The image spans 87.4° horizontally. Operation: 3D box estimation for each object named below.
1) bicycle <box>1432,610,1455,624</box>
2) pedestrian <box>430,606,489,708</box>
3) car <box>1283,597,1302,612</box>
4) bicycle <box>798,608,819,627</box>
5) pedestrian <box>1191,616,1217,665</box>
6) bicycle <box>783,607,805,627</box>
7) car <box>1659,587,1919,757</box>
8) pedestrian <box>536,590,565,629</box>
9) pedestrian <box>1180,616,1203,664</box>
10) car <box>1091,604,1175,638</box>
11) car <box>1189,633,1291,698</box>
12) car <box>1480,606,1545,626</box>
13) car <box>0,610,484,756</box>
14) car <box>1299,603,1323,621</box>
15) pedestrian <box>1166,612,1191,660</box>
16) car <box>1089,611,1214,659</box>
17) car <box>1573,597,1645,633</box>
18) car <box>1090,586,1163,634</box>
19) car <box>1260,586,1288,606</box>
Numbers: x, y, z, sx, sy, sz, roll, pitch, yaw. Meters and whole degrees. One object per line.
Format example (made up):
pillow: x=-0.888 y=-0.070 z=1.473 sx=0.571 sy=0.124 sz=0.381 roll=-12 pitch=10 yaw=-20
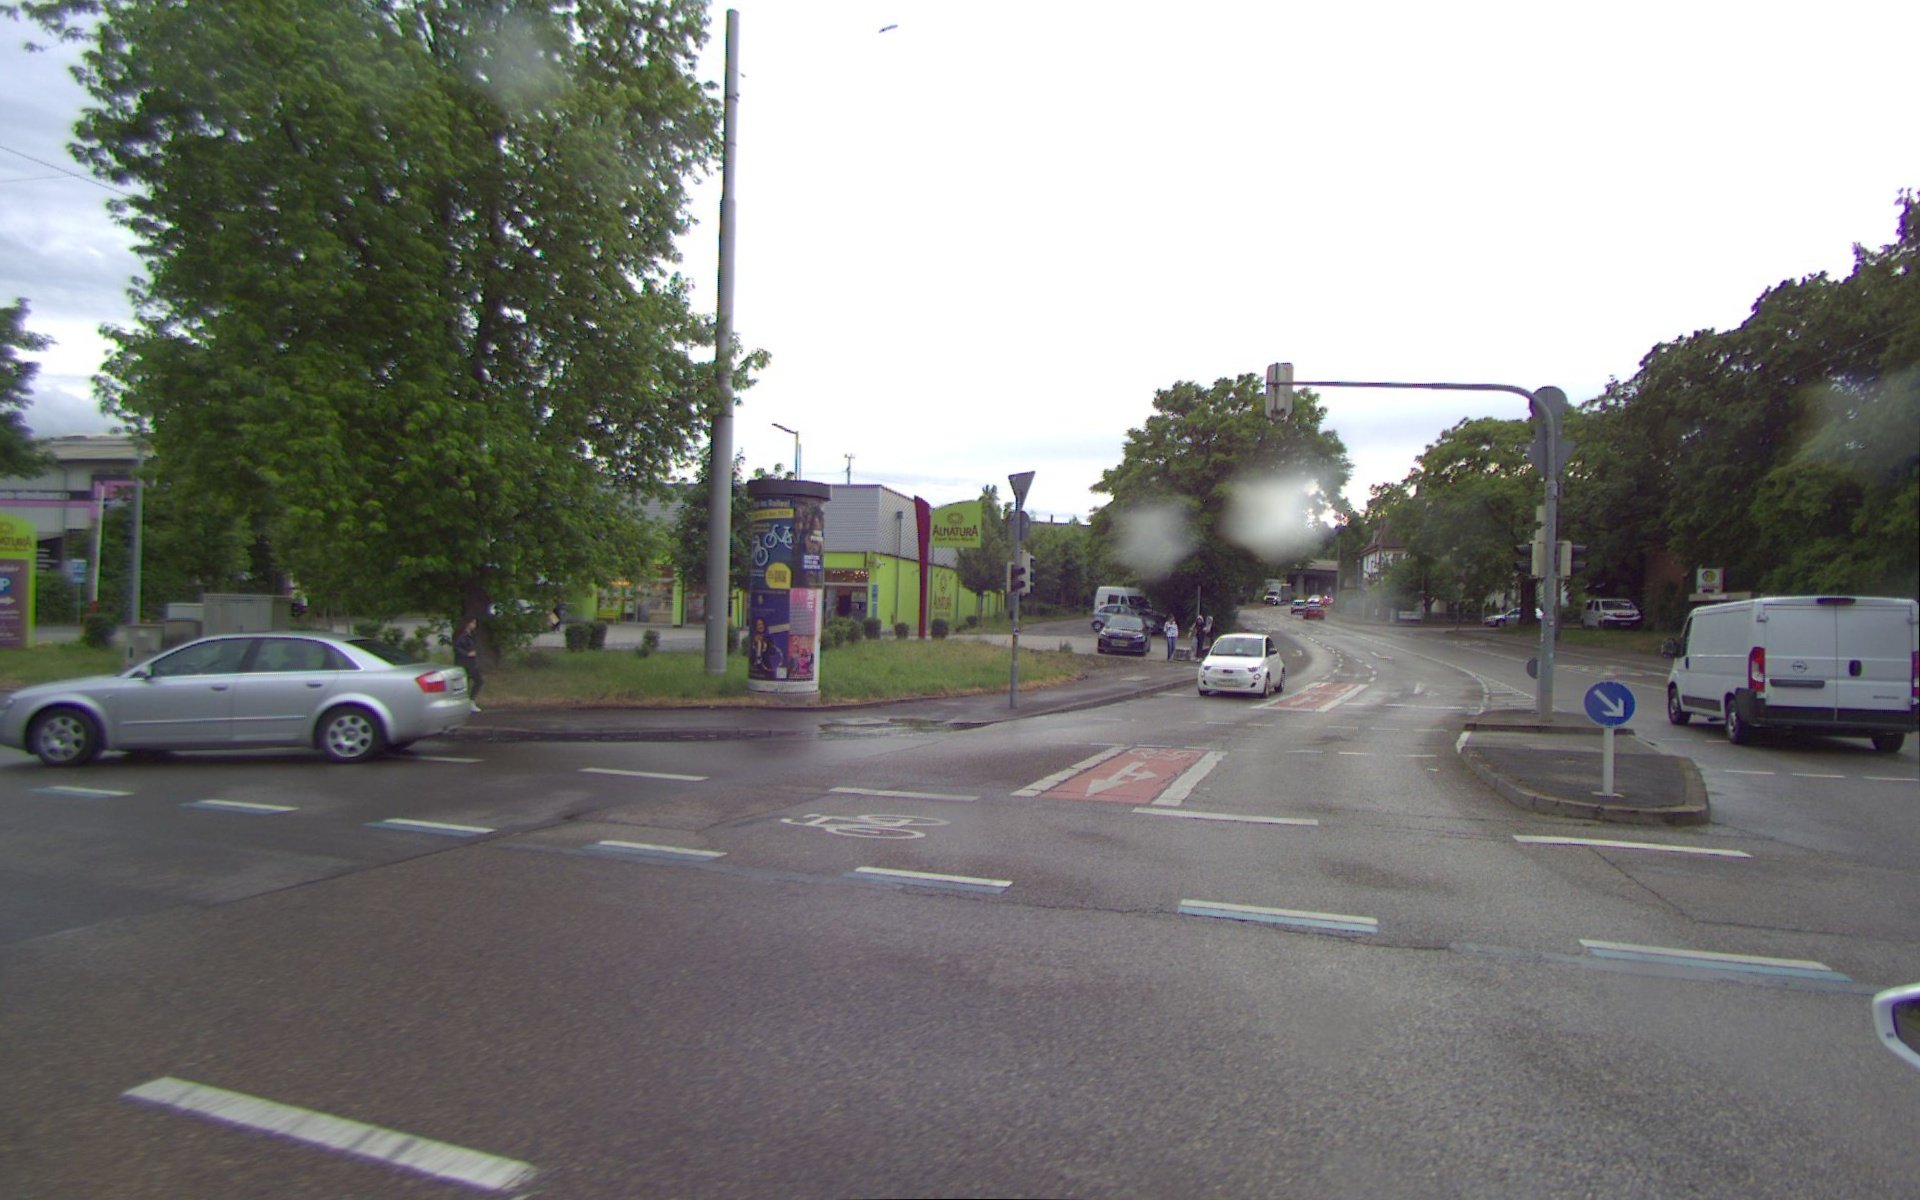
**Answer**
bicycle: x=38.358 y=1.330 z=79.666 sx=1.544 sy=1.130 sz=0.457 roll=0 pitch=1 yaw=18
pedestrian: x=-7.966 y=0.902 z=16.006 sx=0.656 sy=1.552 sz=0.592 roll=2 pitch=2 yaw=-8
car: x=38.877 y=0.505 z=117.458 sx=1.735 sy=1.531 sz=3.756 roll=2 pitch=1 yaw=14
bicycle: x=-7.856 y=0.899 z=52.190 sx=0.523 sy=0.995 sz=1.616 roll=1 pitch=0 yaw=14
pedestrian: x=8.505 y=1.398 z=34.965 sx=0.646 sy=1.623 sz=0.677 roll=4 pitch=2 yaw=28
bicycle: x=-8.646 y=0.886 z=52.434 sx=0.523 sy=0.995 sz=1.616 roll=1 pitch=0 yaw=14
car: x=13.276 y=1.047 z=16.411 sx=2.112 sy=2.313 sz=5.060 roll=0 pitch=-1 yaw=24
pedestrian: x=-17.263 y=0.395 z=42.337 sx=0.744 sy=1.618 sz=0.804 roll=3 pitch=2 yaw=22
pedestrian: x=8.232 y=1.415 z=35.704 sx=0.596 sy=1.623 sz=0.677 roll=4 pitch=2 yaw=28
car: x=9.513 y=1.133 z=55.307 sx=4.064 sy=1.563 sz=1.990 roll=4 pitch=2 yaw=40
car: x=7.253 y=1.605 z=25.746 sx=1.662 sy=1.502 sz=3.994 roll=0 pitch=-1 yaw=28
car: x=41.218 y=1.221 z=74.978 sx=3.919 sy=1.441 sz=1.705 roll=0 pitch=-1 yaw=11
car: x=-7.929 y=0.936 z=11.330 sx=4.355 sy=1.455 sz=1.587 roll=2 pitch=-3 yaw=-16
car: x=34.161 y=1.167 z=97.903 sx=1.806 sy=1.554 sz=4.204 roll=2 pitch=2 yaw=15
pedestrian: x=7.769 y=1.262 z=35.720 sx=0.646 sy=1.623 sz=0.677 roll=4 pitch=2 yaw=28
car: x=7.060 y=1.282 z=37.170 sx=4.162 sy=1.468 sz=1.748 roll=3 pitch=1 yaw=-13
car: x=36.867 y=0.788 z=57.172 sx=1.960 sy=1.829 sz=5.148 roll=3 pitch=1 yaw=16
car: x=9.877 y=0.537 z=60.116 sx=2.078 sy=2.567 sz=5.587 roll=2 pitch=2 yaw=-15
car: x=50.548 y=-0.595 z=161.538 sx=2.498 sy=3.059 sz=7.191 roll=3 pitch=2 yaw=32
